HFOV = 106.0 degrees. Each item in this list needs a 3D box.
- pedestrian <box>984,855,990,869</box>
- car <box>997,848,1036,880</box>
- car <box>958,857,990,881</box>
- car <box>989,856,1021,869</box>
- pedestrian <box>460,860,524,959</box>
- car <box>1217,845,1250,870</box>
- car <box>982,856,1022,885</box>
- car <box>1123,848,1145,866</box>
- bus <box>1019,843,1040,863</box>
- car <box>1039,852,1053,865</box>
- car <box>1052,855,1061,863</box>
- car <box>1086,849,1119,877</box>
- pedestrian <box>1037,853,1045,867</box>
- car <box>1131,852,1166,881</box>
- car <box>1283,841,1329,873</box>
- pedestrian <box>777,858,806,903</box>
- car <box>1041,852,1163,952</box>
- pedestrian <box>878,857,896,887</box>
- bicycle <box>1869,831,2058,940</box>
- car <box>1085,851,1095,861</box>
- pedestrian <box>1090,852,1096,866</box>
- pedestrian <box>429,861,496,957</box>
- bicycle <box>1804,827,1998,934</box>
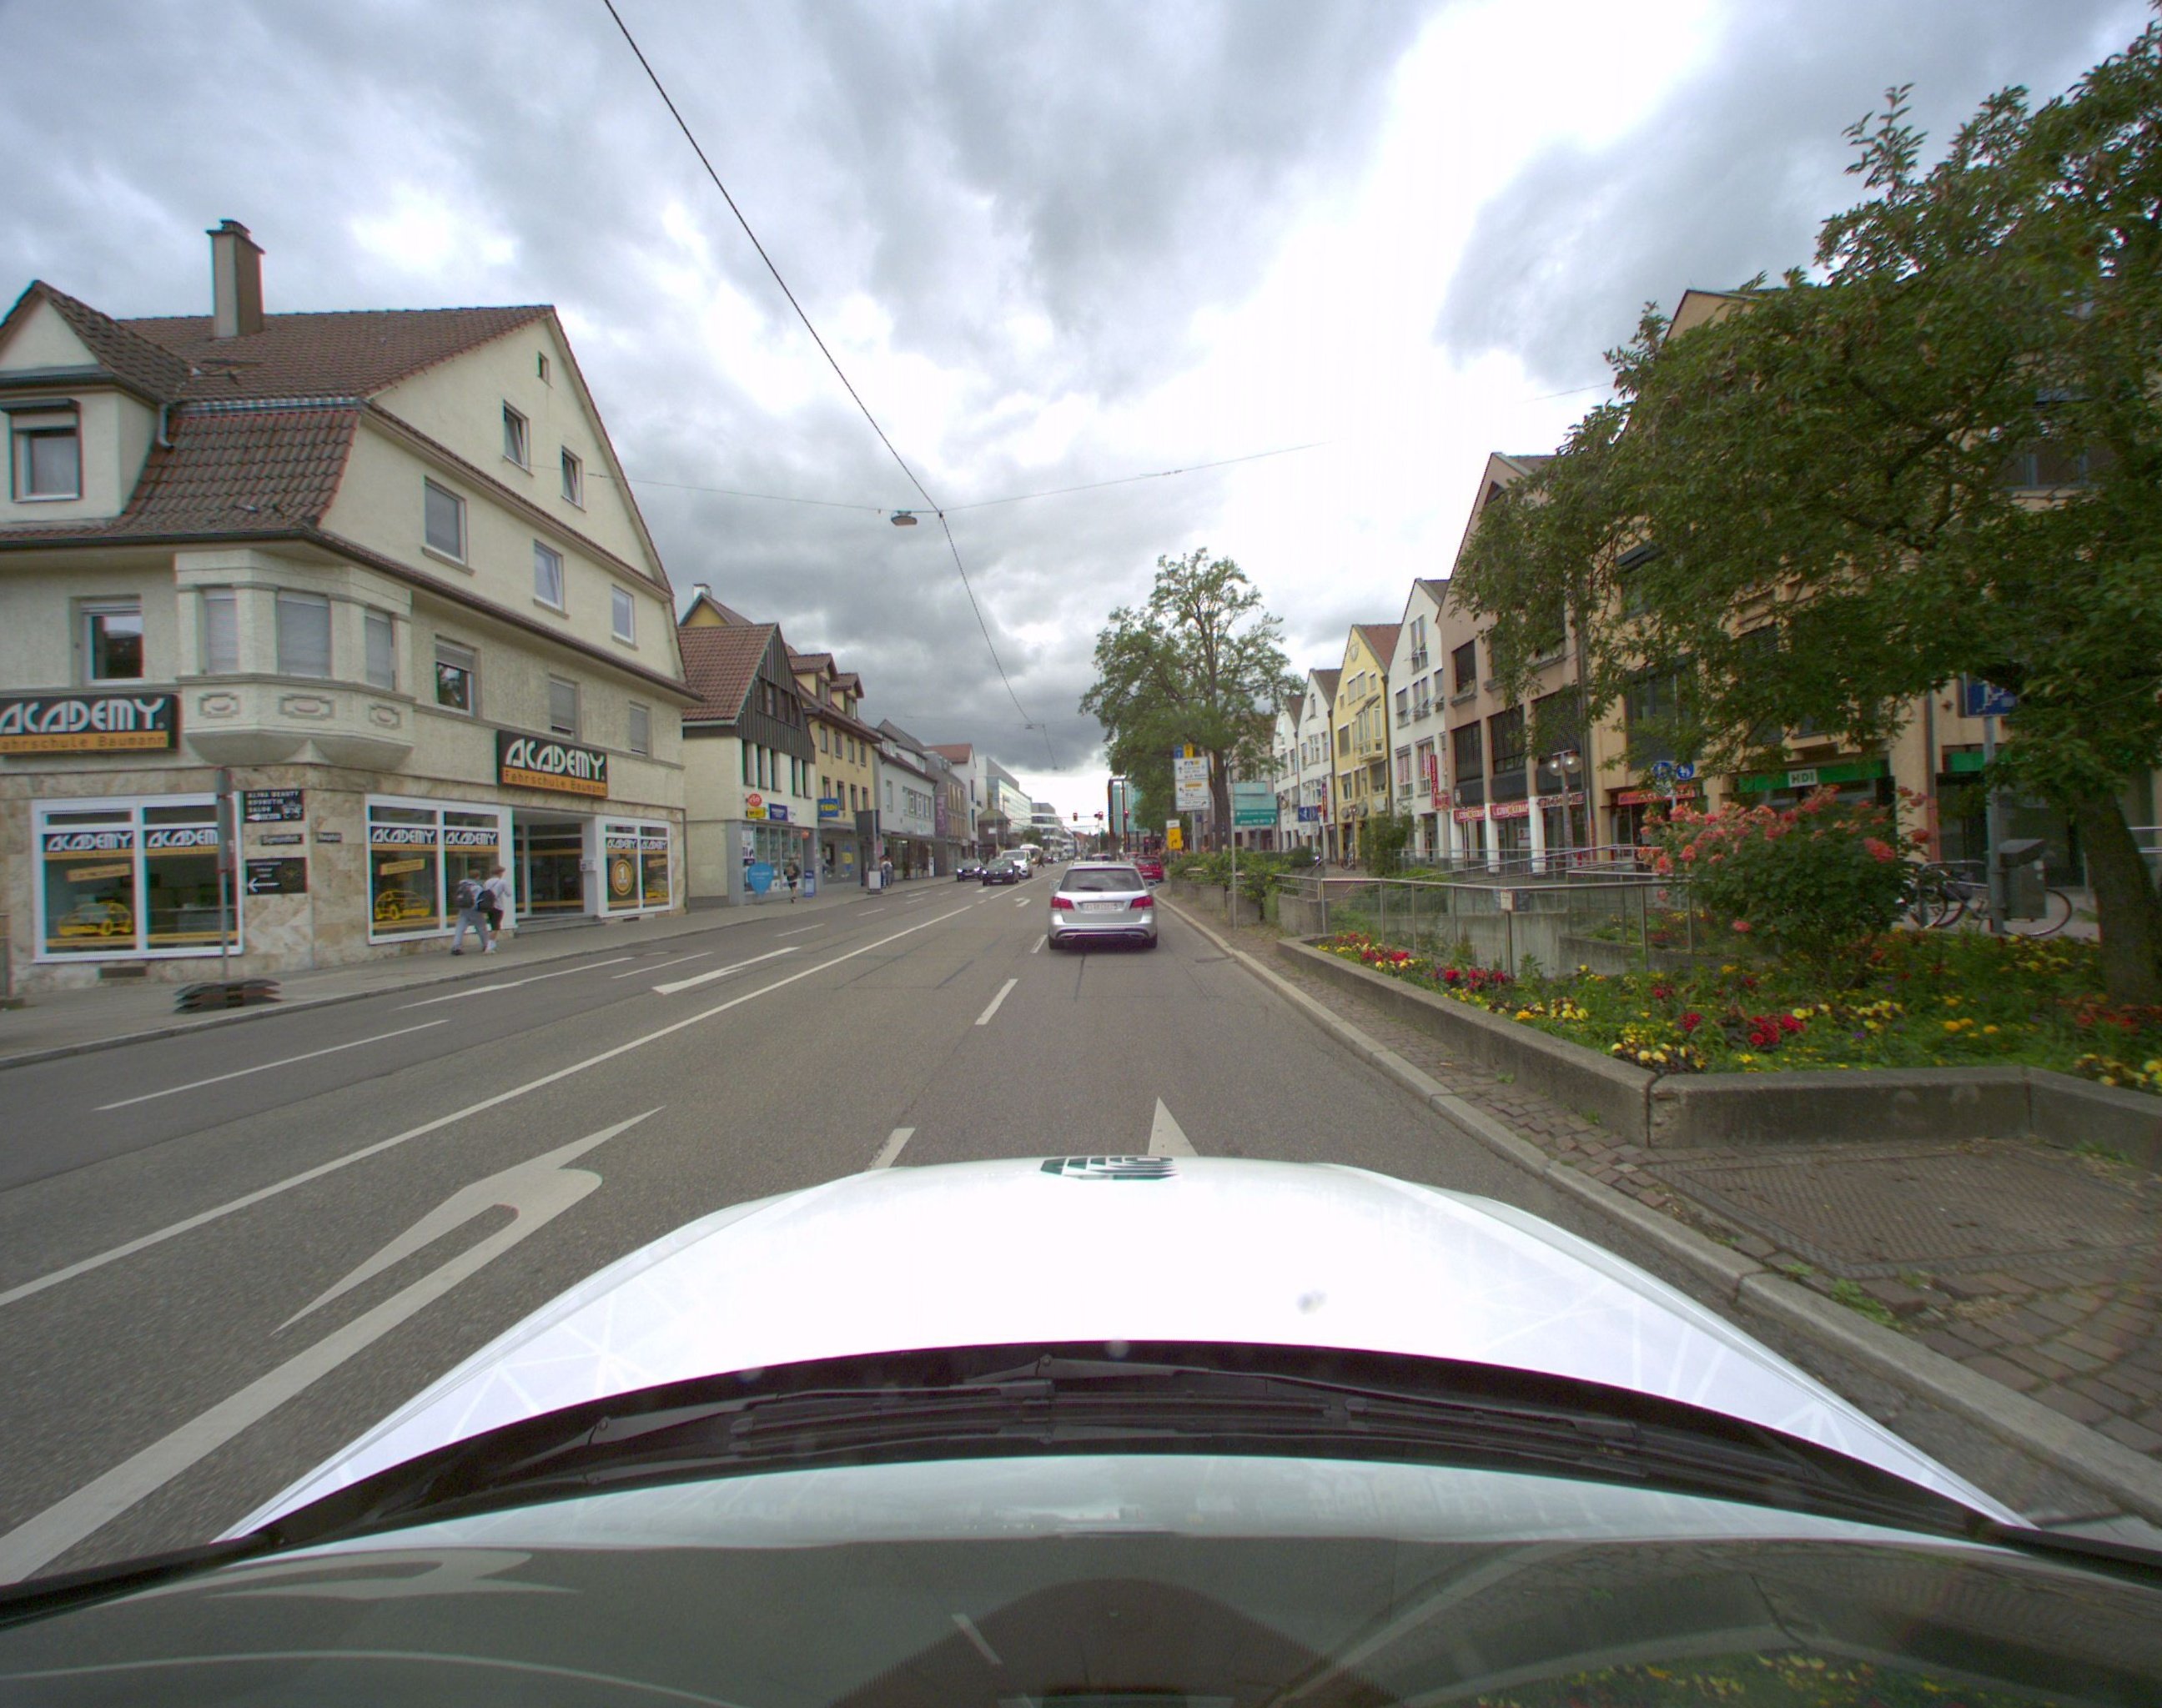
[{"bbox_3d":[-11.108,0.951,96.374,0.584,1.634,0.615,1,0,-1],"label":"pedestrian"},{"bbox_3d":[-4.324,0.663,55.346,1.954,1.960,5.141,-4,0,1],"label":"car"},{"bbox_3d":[-7.472,1.020,56.960,1.611,1.523,3.508,-3,0,1],"label":"car"},{"bbox_3d":[-10.470,1.162,112.616,4.084,1.541,1.581,-2,0,2],"label":"car"},{"bbox_3d":[-11.232,1.036,15.553,0.631,1.824,0.681,-3,0,1],"label":"pedestrian"},{"bbox_3d":[11.926,0.253,63.744,1.860,1.864,4.001,-2,0,1],"label":"car"},{"bbox_3d":[-4.312,0.884,44.991,1.611,1.428,3.924,-3,0,2],"label":"car"},{"bbox_3d":[5.153,0.294,79.936,1.986,1.684,4.001,-2,0,2],"label":"car"},{"bbox_3d":[-8.583,-0.136,136.239,2.765,3.165,5.935,-2,0,2],"label":"bus"},{"bbox_3d":[-5.760,0.680,134.991,1.986,2.013,4.002,-2,0,2],"label":"car"},{"bbox_3d":[-4.587,0.923,152.815,1.569,1.244,3.608,-2,0,2],"label":"car"},{"bbox_3d":[1.423,0.575,52.538,1.986,1.684,4.001,-2,0,2],"label":"car"},{"bbox_3d":[-4.771,0.682,97.181,0.854,1.634,0.588,1,0,3],"label":"pedestrian"},{"bbox_3d":[3.781,0.670,45.113,1.745,1.521,4.008,0,0,7],"label":"car"},{"bbox_3d":[14.036,0.163,50.980,1.860,1.864,4.001,-2,0,1],"label":"car"},{"bbox_3d":[-11.545,1.043,32.455,0.865,1.746,0.805,1,0,-4],"label":"pedestrian"},{"bbox_3d":[0.315,0.750,14.713,1.868,1.506,3.999,-2,0,-1],"label":"car"},{"bbox_3d":[-10.652,0.980,44.773,0.815,1.634,0.979,0,0,-4],"label":"pedestrian"},{"bbox_3d":[11.030,0.383,10.213,1.670,1.259,0.669,-2,0,-3],"label":"bicycle"},{"bbox_3d":[1.993,0.486,172.359,1.986,2.013,4.001,-2,0,1],"label":"car"},{"bbox_3d":[1.372,0.556,95.488,0.612,1.634,0.586,1,0,-8],"label":"pedestrian"},{"bbox_3d":[-11.933,1.044,15.740,0.685,1.761,0.681,-3,0,1],"label":"pedestrian"},{"bbox_3d":[11.138,0.342,11.108,1.812,1.326,0.842,-2,0,-3],"label":"bicycle"}]
